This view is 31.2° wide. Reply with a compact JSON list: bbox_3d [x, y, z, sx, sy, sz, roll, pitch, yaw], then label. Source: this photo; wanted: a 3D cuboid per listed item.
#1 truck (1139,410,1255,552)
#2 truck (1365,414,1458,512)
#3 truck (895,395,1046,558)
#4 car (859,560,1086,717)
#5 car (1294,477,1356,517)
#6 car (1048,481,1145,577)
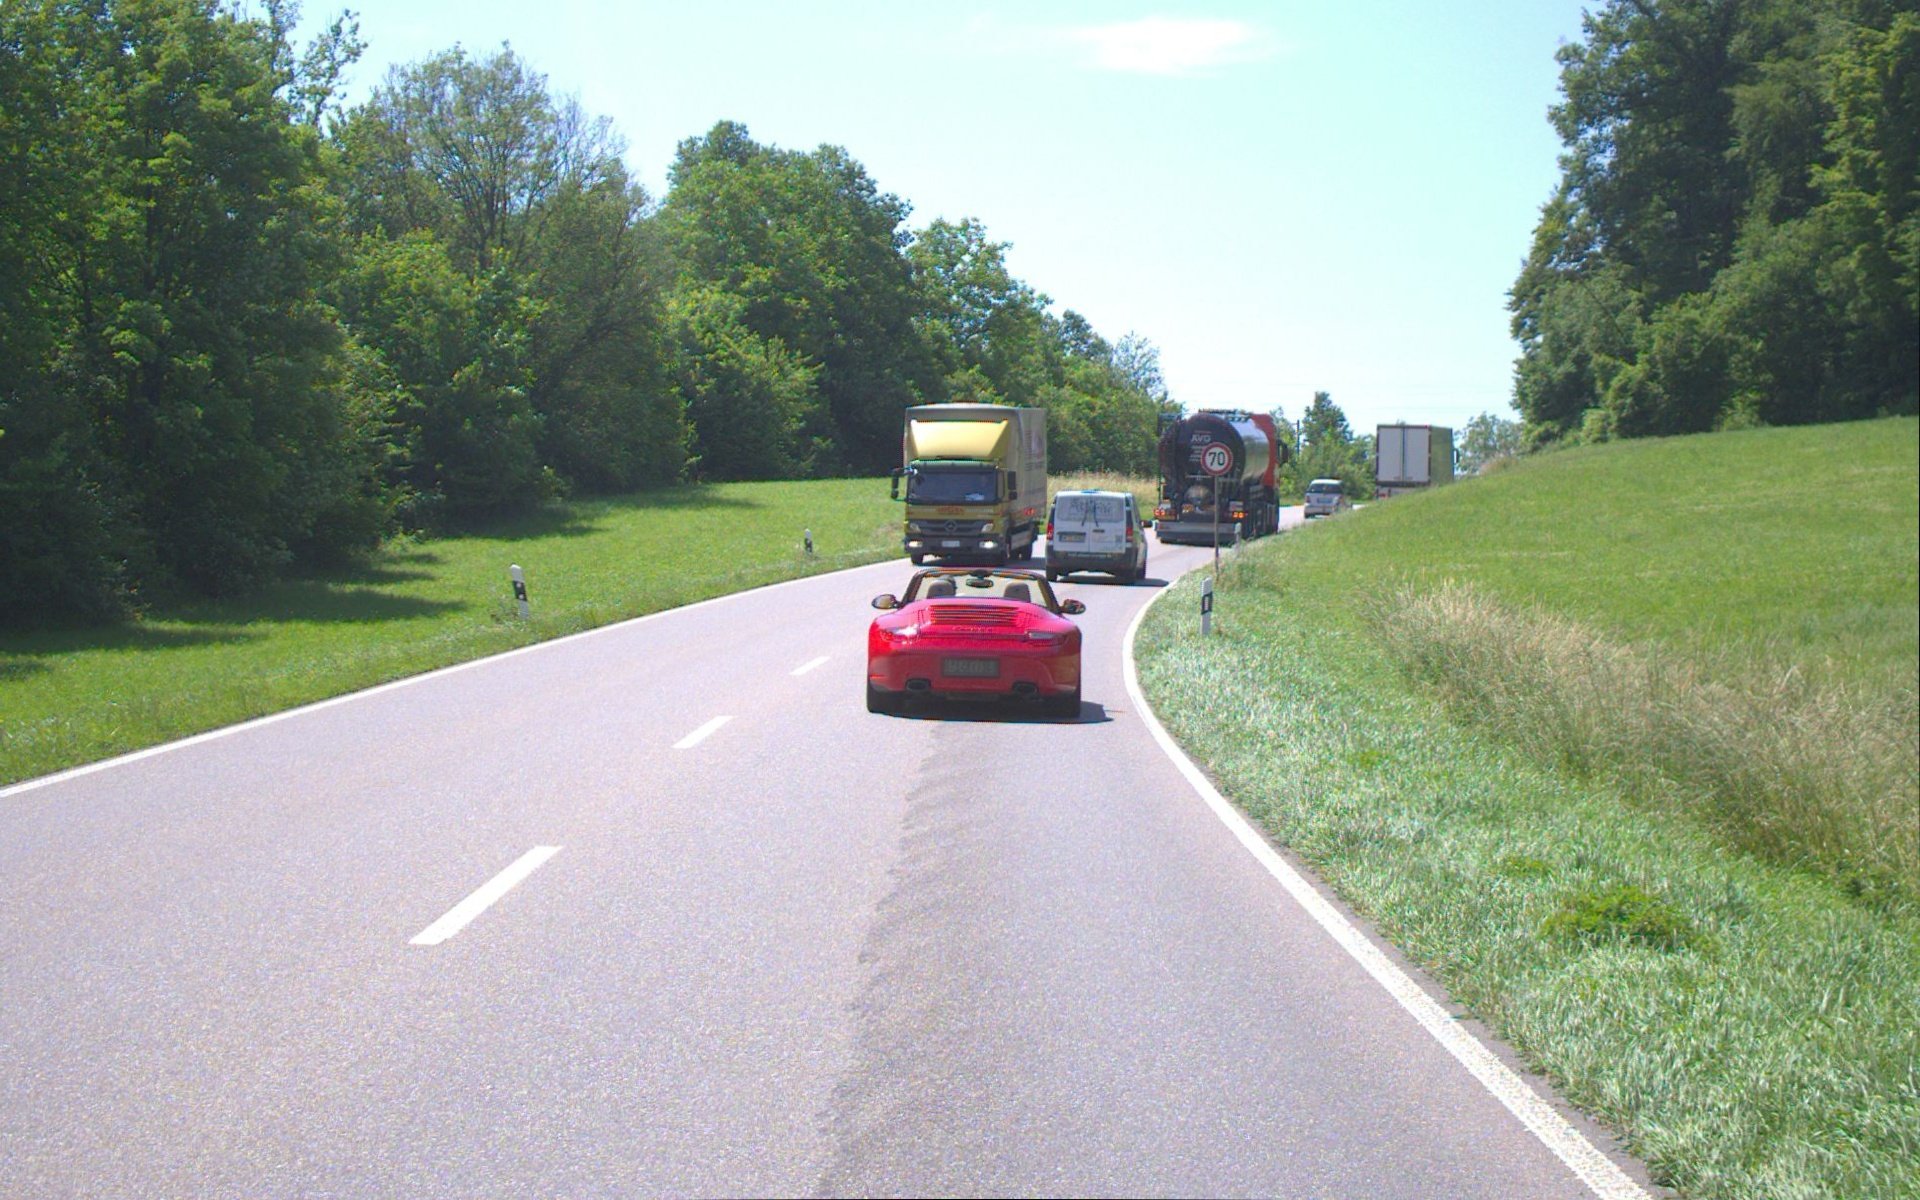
[{"bbox_3d":[7.277,-3.625,104.025,2.405,4.035,12.547,0,2,9],"label":"truck"},{"bbox_3d":[22.300,-6.743,169.252,3.727,4.644,12.026,1,2,11],"label":"truck"},{"bbox_3d":[0.338,-2.919,82.610,2.731,3.678,8.544,1,1,6],"label":"truck"},{"bbox_3d":[0.115,0.300,30.779,1.882,1.251,4.009,1,1,0],"label":"car"},{"bbox_3d":[14.584,-4.125,137.232,1.832,1.508,4.188,1,2,14],"label":"car"},{"bbox_3d":[2.908,-1.523,72.580,1.679,1.894,4.009,1,3,7],"label":"car"}]
